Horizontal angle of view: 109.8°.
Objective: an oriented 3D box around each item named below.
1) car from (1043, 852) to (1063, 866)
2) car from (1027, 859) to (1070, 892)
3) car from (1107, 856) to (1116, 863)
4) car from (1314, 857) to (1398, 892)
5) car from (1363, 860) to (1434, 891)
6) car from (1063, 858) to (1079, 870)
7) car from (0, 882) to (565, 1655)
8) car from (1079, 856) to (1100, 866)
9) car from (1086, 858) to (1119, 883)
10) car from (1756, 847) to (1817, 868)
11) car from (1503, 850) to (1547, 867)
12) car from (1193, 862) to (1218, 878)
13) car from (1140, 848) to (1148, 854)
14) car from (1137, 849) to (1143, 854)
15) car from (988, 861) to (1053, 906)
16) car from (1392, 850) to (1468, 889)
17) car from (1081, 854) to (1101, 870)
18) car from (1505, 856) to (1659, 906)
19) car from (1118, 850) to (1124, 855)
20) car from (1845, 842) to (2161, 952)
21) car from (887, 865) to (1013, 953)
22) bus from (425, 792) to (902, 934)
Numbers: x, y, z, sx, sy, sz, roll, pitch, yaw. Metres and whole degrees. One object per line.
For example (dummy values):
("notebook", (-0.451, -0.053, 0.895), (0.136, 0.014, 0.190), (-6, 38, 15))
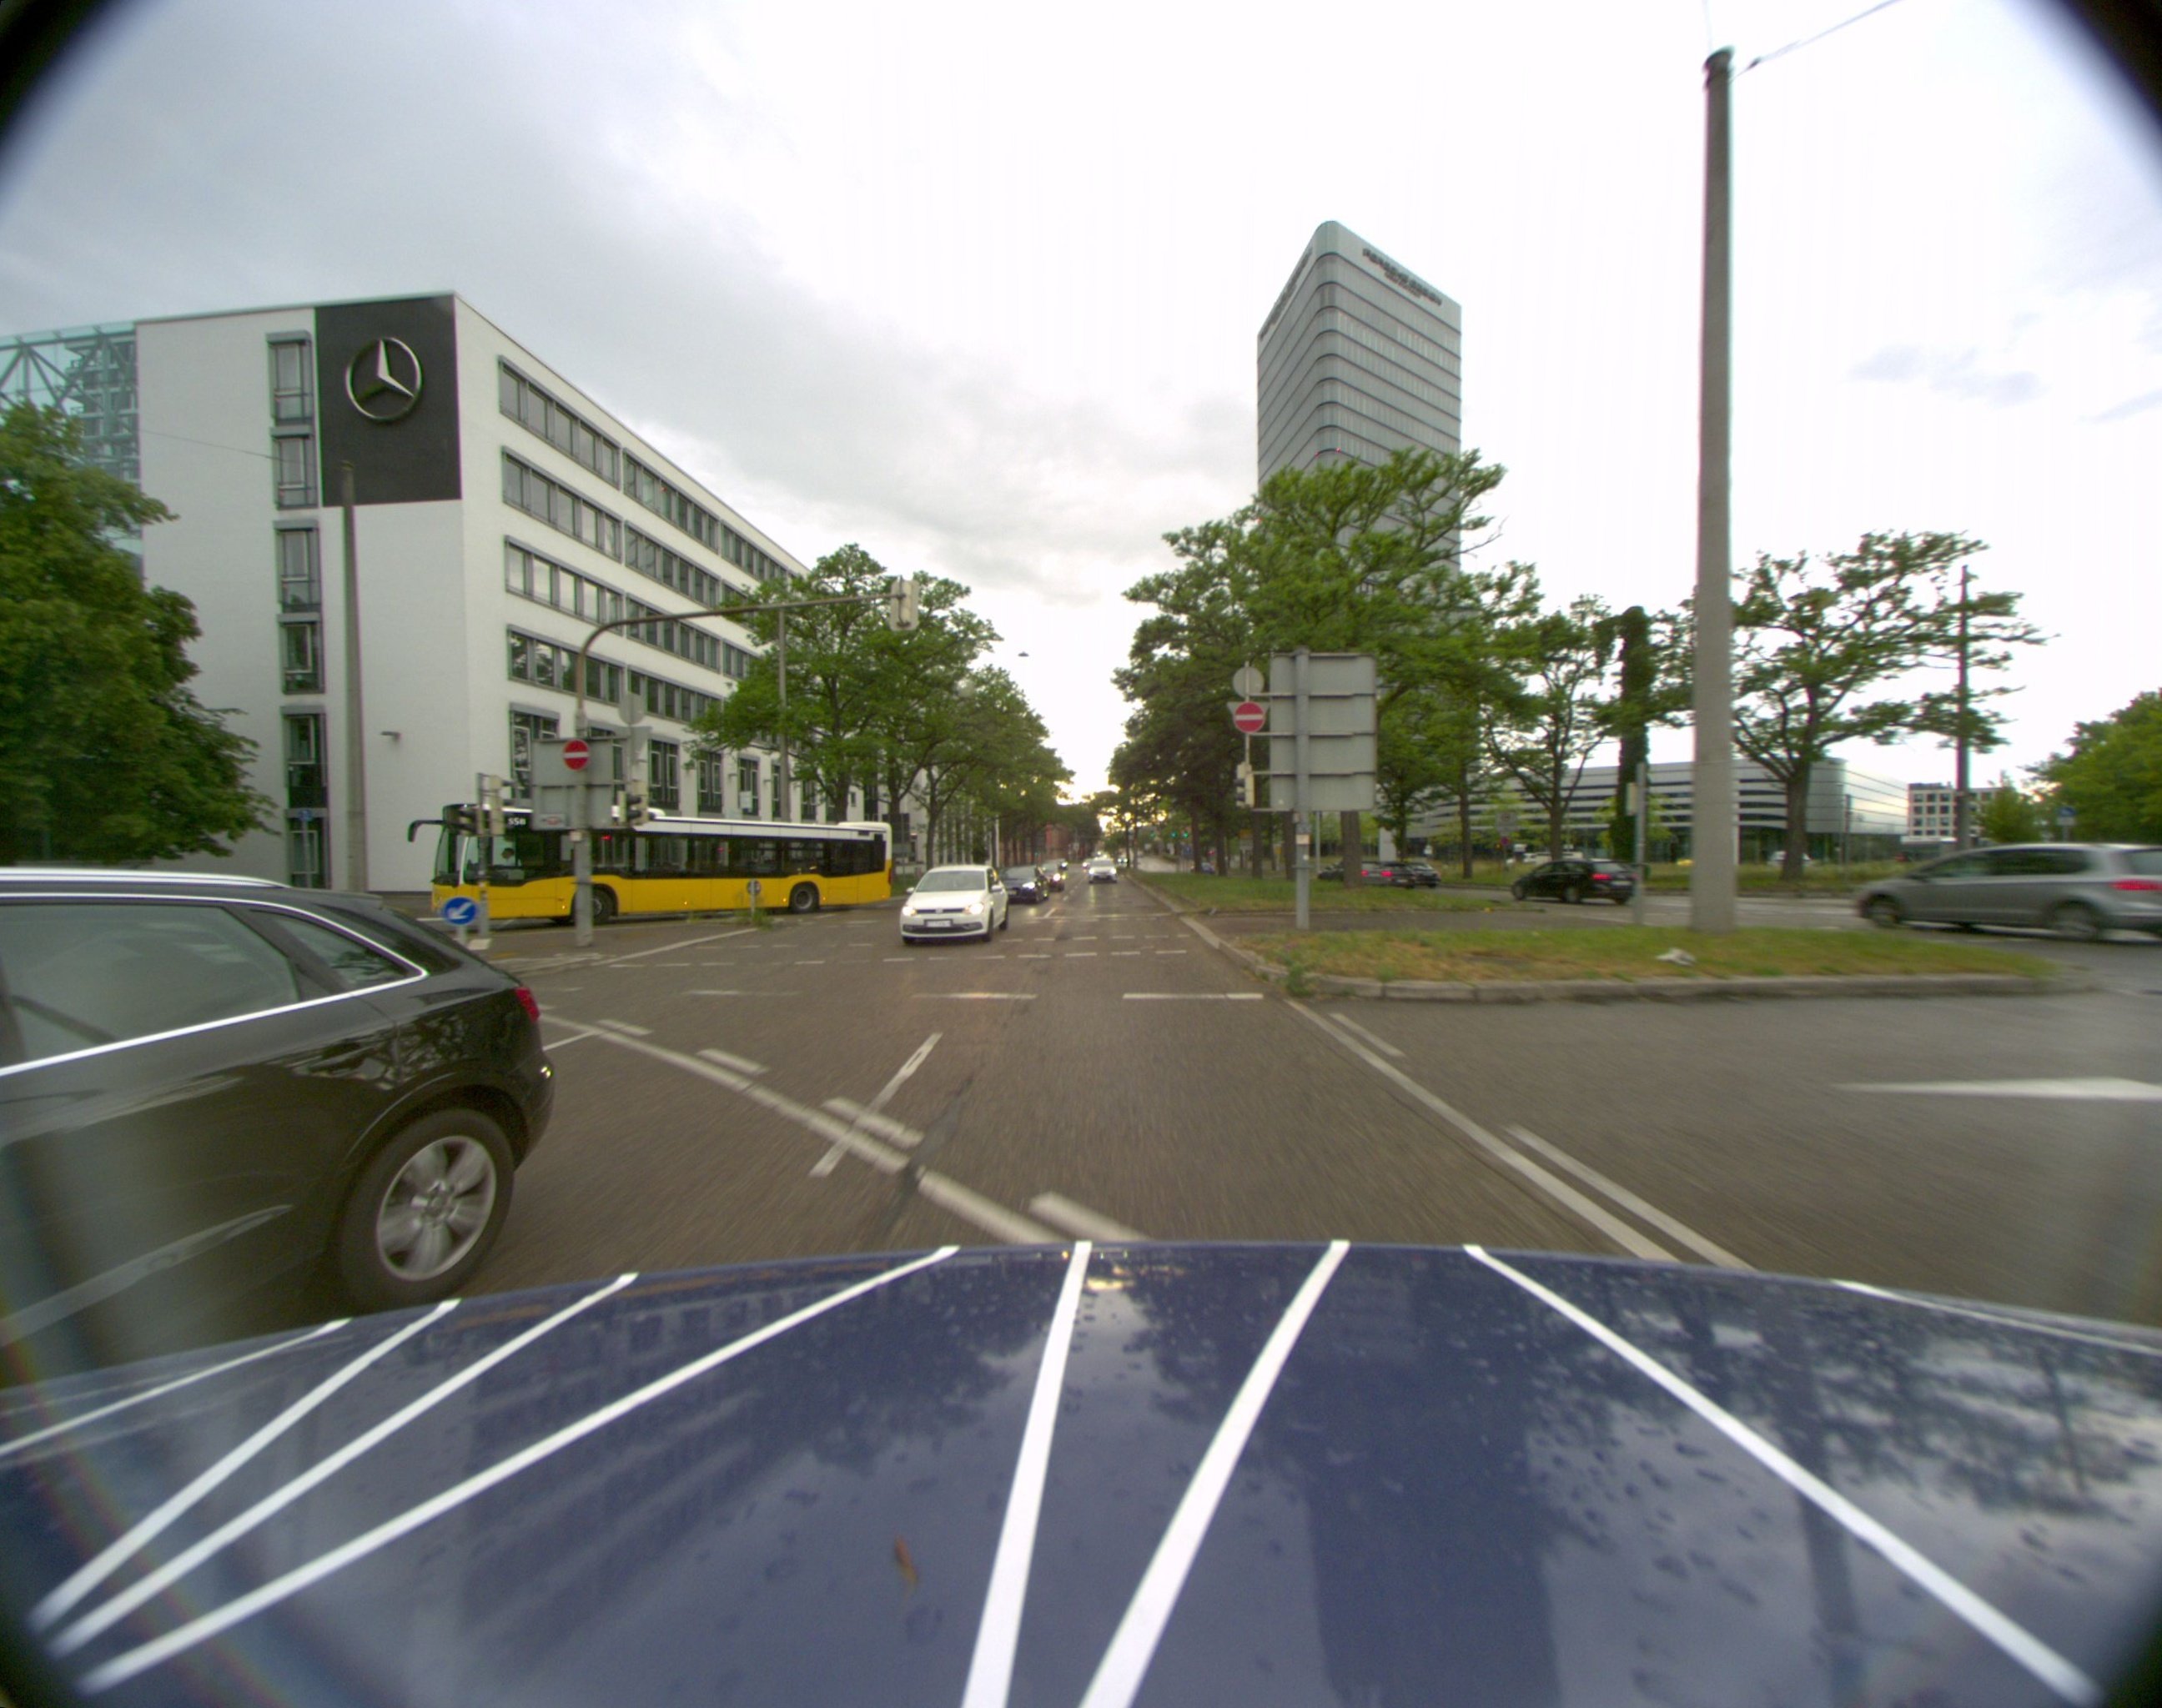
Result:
("car", (-3.240, 0.574, 88.153), (1.998, 1.576, 4.001), (0, 0, 3))
("car", (-1.557, 1.039, 37.880), (1.625, 1.426, 3.552), (-3, 1, 5))
("car", (6.842, 1.166, 169.680), (1.914, 1.587, 4.000), (-1, 0, 1))
("car", (12.418, 0.890, 34.632), (1.906, 1.480, 4.891), (-1, 0, -2))
("car", (15.861, 1.046, 38.194), (1.998, 1.379, 4.000), (-1, 0, 2))
("car", (-1.391, 1.354, 106.869), (1.998, 1.630, 4.001), (-1, 0, 3))
("car", (-3.296, 0.943, 1.245), (1.888, 1.586, 4.114), (-1, 0, 3))
("car", (1.322, 1.021, 115.265), (1.996, 1.477, 4.005), (0, 0, 19))
("car", (1.383, 1.038, 48.329), (1.998, 1.455, 4.000), (-1, 0, 2))
("car", (46.370, 0.197, 50.018), (1.616, 1.237, 4.005), (-2, 1, 22))
("car", (41.617, 0.427, 71.179), (4.005, 1.405, 1.774), (-3, 1, -29))
("car", (11.582, 1.503, 70.926), (1.790, 1.387, 3.882), (-1, 0, 3))
("car", (18.911, -0.892, 227.208), (1.894, 1.445, 3.999), (-3, 1, 0))
("car", (18.741, -0.852, 241.668), (1.783, 1.445, 3.999), (-3, 1, 0))
("car", (-2.154, 1.031, 28.128), (1.878, 1.346, 4.332), (-3, 1, 2))
("car", (18.869, 0.878, 41.348), (1.834, 1.612, 4.570), (4, -6, -2))
("car", (1.121, 0.893, 84.425), (1.998, 1.707, 4.001), (0, 0, 3))
("car", (16.081, 0.814, 24.723), (1.829, 1.464, 4.667), (-1, 0, -2))
("car", (13.655, -0.570, 258.865), (1.846, 1.581, 4.173), (0, 1, 0))
("car", (16.275, 0.604, 13.062), (1.999, 1.566, 4.194), (-1, 0, -2))
("car", (-2.483, 0.999, 15.328), (1.745, 1.423, 3.812), (-2, 0, 1))
("bus", (-11.062, 0.271, 22.395), (2.728, 3.132, 12.172), (-3, -2, 38))
